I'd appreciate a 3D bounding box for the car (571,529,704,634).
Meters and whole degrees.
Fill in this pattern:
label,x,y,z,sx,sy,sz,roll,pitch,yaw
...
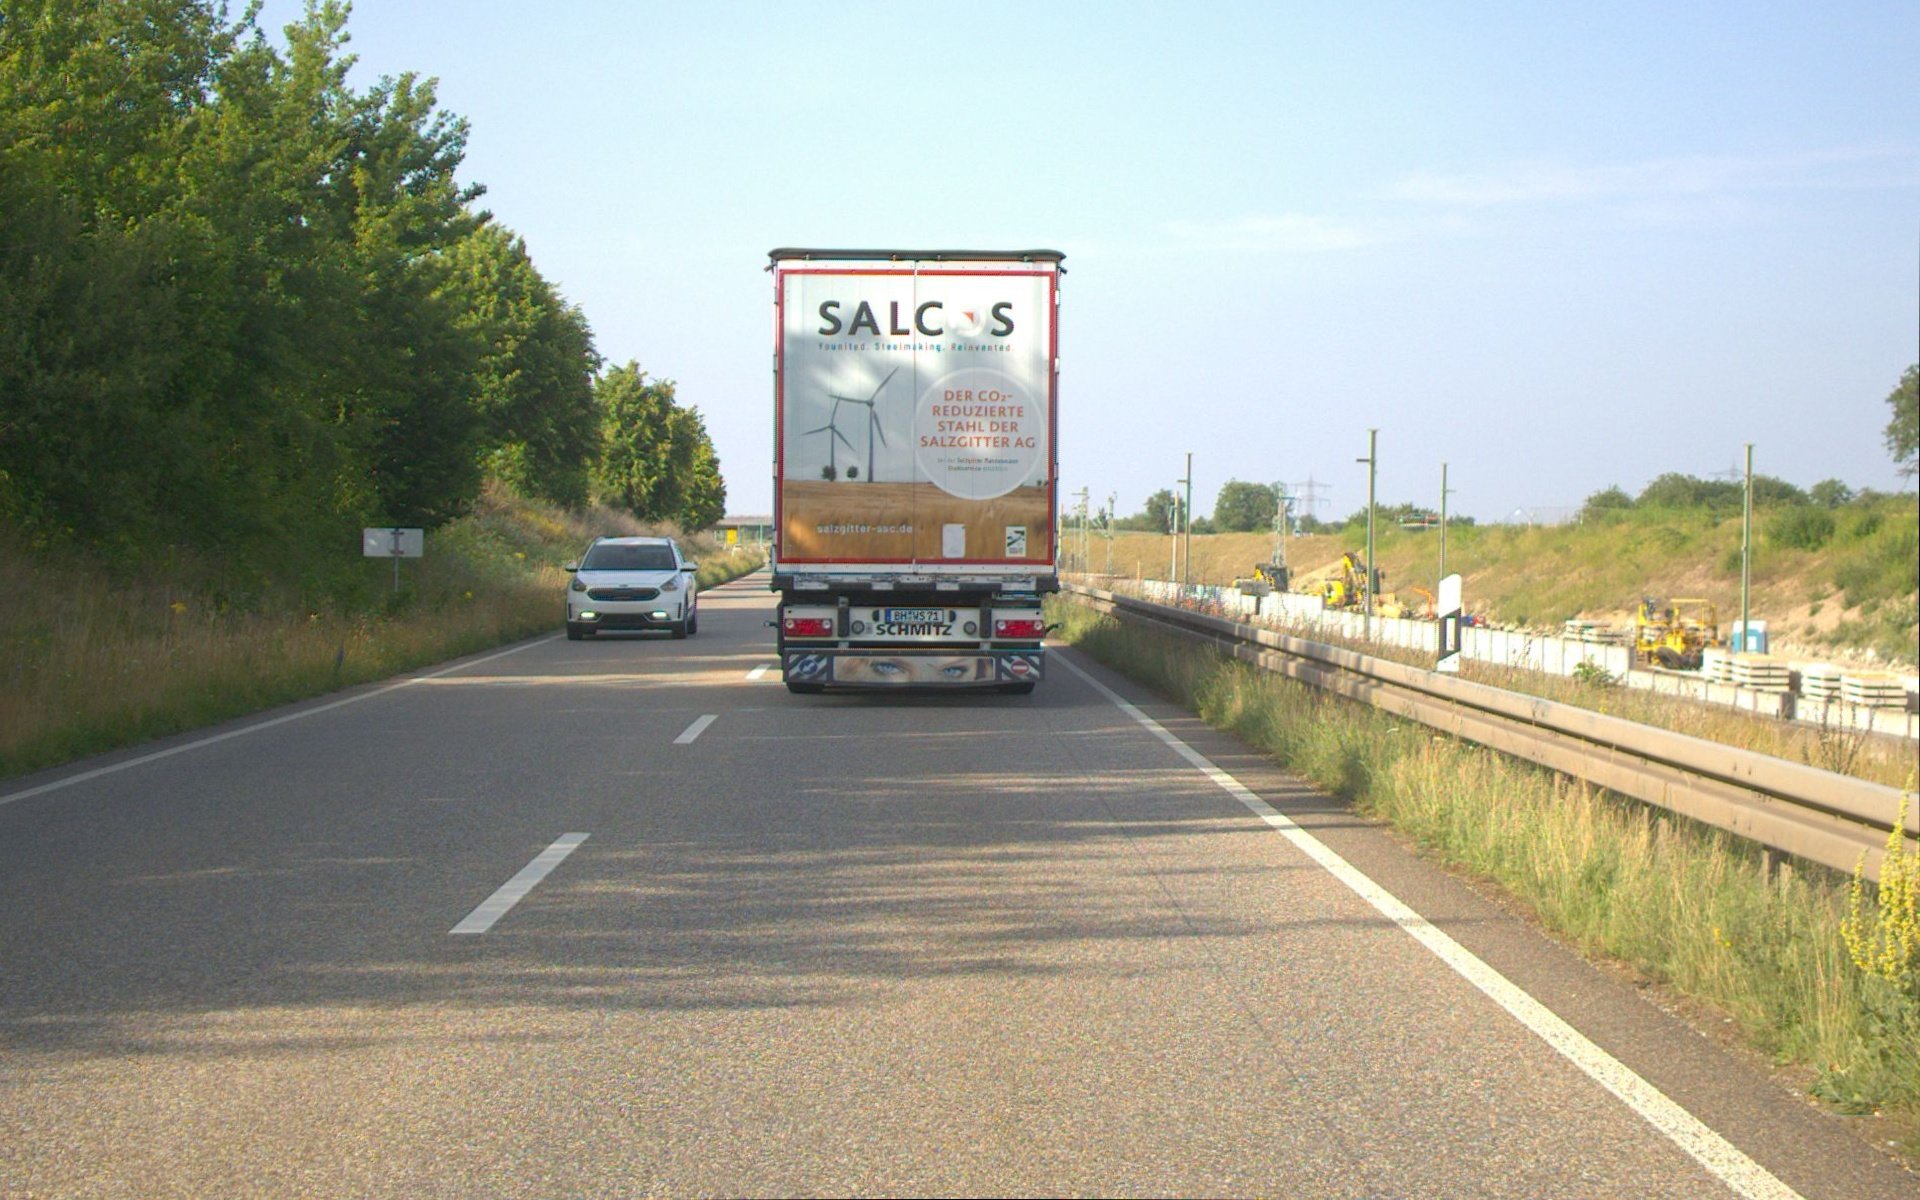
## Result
label,x,y,z,sx,sy,sz,roll,pitch,yaw
car,-4.940,-0.311,53.110,1.744,1.559,4.366,0,1,-1

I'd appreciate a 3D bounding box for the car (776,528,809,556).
label,x,y,z,sx,sy,sz,roll,pitch,yaw
car,-9.552,-3.312,195.911,1.743,1.541,4.312,0,1,-1

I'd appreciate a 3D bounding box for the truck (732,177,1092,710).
label,x,y,z,sx,sy,sz,roll,pitch,yaw
truck,-0.522,-1.450,34.397,3.153,4.672,8.442,0,1,-1

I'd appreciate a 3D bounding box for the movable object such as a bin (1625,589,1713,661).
label,x,y,z,sx,sy,sz,roll,pitch,yaw
movable object such as a bin,27.294,0.942,132.353,2.907,2.652,2.017,1,1,24
